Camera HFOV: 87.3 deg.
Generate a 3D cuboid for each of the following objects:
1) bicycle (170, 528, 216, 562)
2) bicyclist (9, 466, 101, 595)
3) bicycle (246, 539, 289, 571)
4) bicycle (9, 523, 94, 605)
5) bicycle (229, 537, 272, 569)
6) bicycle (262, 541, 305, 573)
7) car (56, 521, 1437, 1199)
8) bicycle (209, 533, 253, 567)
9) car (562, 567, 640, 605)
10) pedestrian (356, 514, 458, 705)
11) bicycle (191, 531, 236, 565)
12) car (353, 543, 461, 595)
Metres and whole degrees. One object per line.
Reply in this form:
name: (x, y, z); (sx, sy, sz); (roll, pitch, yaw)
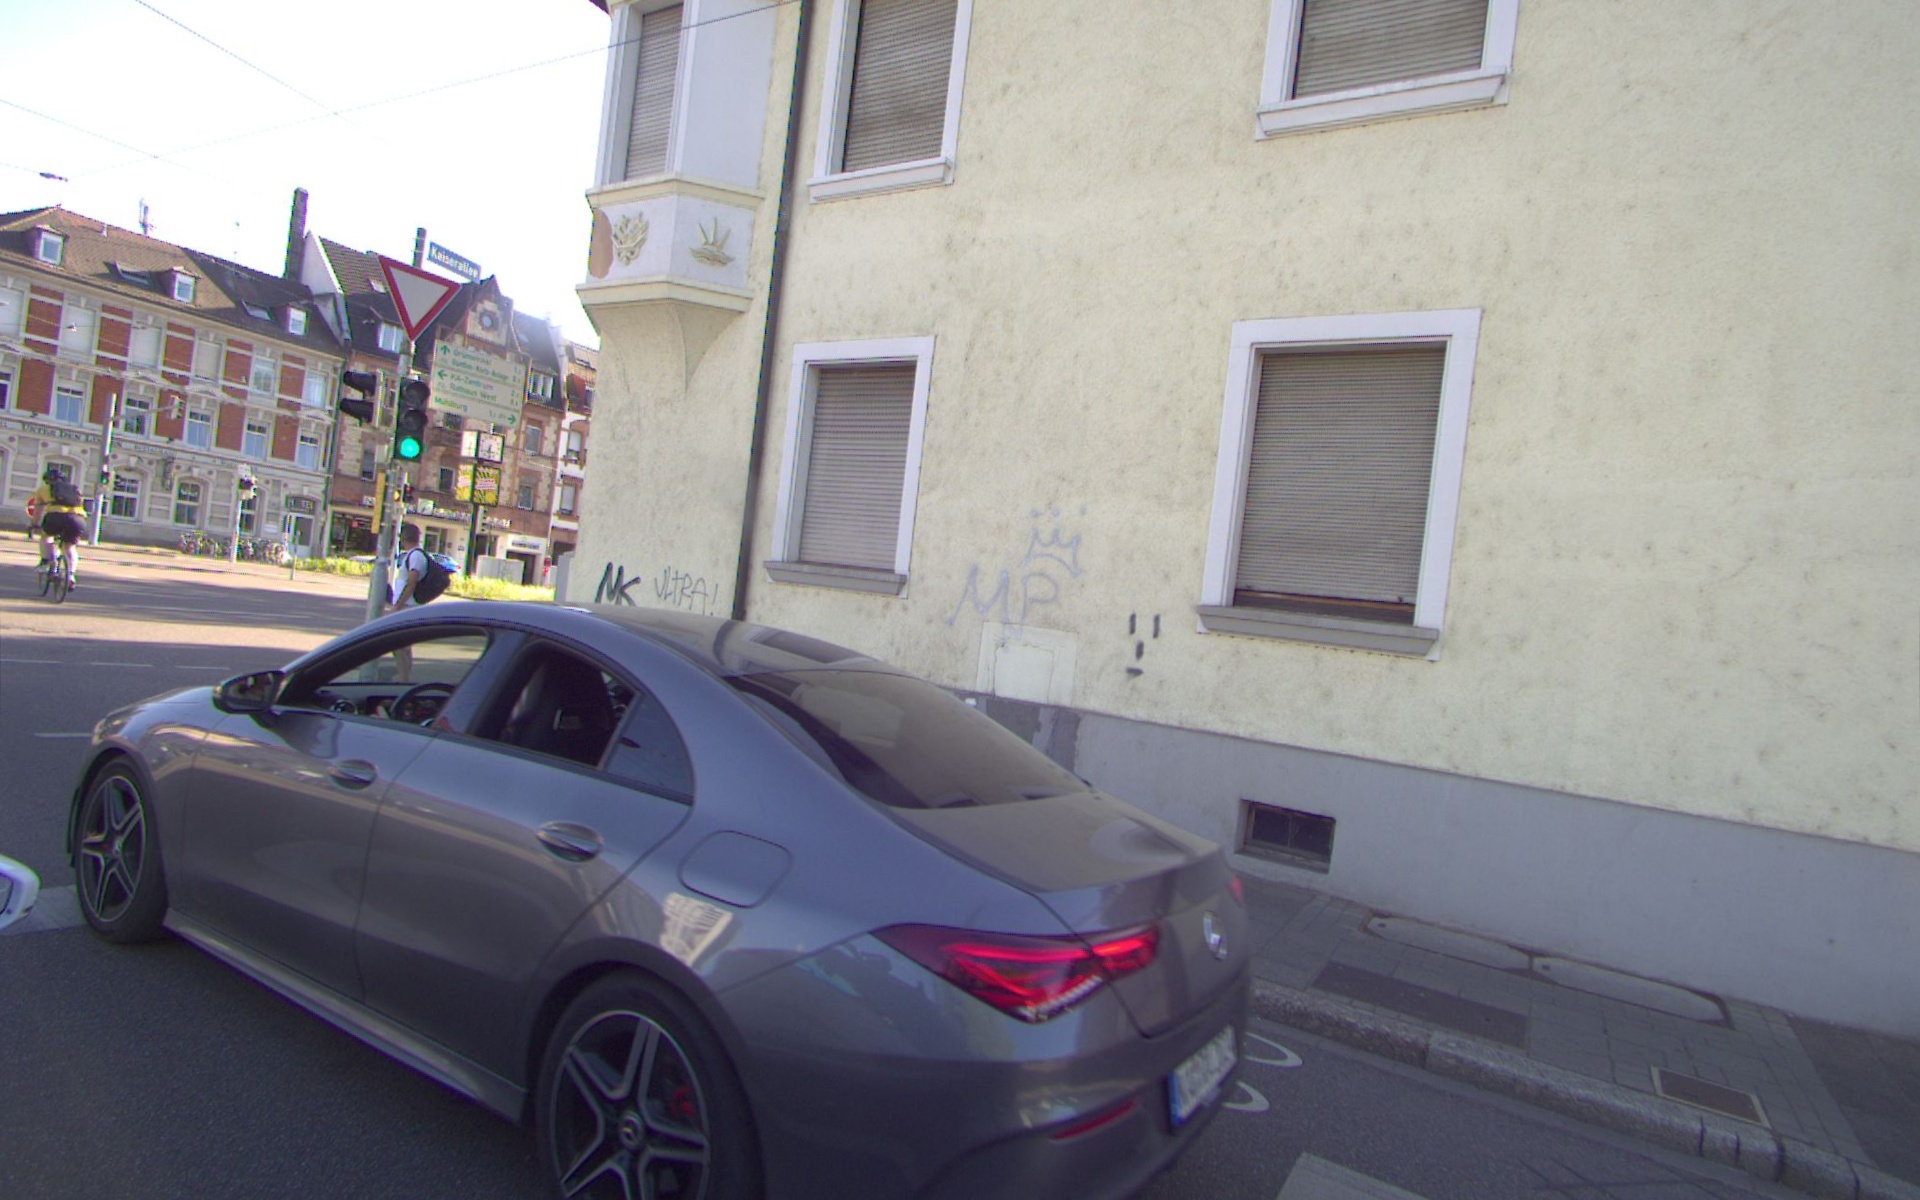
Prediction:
bicycle: (-34.616, -2.501, 45.405); (2.618, 1.301, 0.693); (6, -1, 33)
bicyclist: (-13.010, -0.987, 14.493); (0.803, 1.682, 0.873); (8, -1, -41)
bicycle: (-33.063, -2.148, 48.003); (2.618, 1.301, 0.629); (6, -1, 33)
bicycle: (-13.180, -0.537, 14.638); (0.752, 1.043, 1.761); (8, -2, -40)
bicycle: (-33.429, -2.222, 47.374); (2.618, 1.301, 0.629); (6, -1, 33)
bicycle: (-32.693, -2.075, 48.593); (2.618, 1.301, 0.629); (6, -1, 33)
car: (-0.990, 0.709, 3.423); (4.419, 1.436, 1.910); (6, -2, 33)
bicycle: (-33.843, -2.325, 46.702); (2.618, 1.301, 0.629); (6, -1, 33)
car: (-23.259, -0.877, 65.298); (1.967, 1.798, 4.374); (6, -2, 31)
pedestrian: (-5.431, 0.087, 9.909); (0.631, 1.780, 0.584); (4, 3, -7)
bicycle: (-34.210, -2.391, 46.077); (2.618, 1.301, 0.693); (6, -1, 33)
car: (-25.709, -1.411, 46.902); (1.967, 1.798, 3.790); (6, -2, 31)
